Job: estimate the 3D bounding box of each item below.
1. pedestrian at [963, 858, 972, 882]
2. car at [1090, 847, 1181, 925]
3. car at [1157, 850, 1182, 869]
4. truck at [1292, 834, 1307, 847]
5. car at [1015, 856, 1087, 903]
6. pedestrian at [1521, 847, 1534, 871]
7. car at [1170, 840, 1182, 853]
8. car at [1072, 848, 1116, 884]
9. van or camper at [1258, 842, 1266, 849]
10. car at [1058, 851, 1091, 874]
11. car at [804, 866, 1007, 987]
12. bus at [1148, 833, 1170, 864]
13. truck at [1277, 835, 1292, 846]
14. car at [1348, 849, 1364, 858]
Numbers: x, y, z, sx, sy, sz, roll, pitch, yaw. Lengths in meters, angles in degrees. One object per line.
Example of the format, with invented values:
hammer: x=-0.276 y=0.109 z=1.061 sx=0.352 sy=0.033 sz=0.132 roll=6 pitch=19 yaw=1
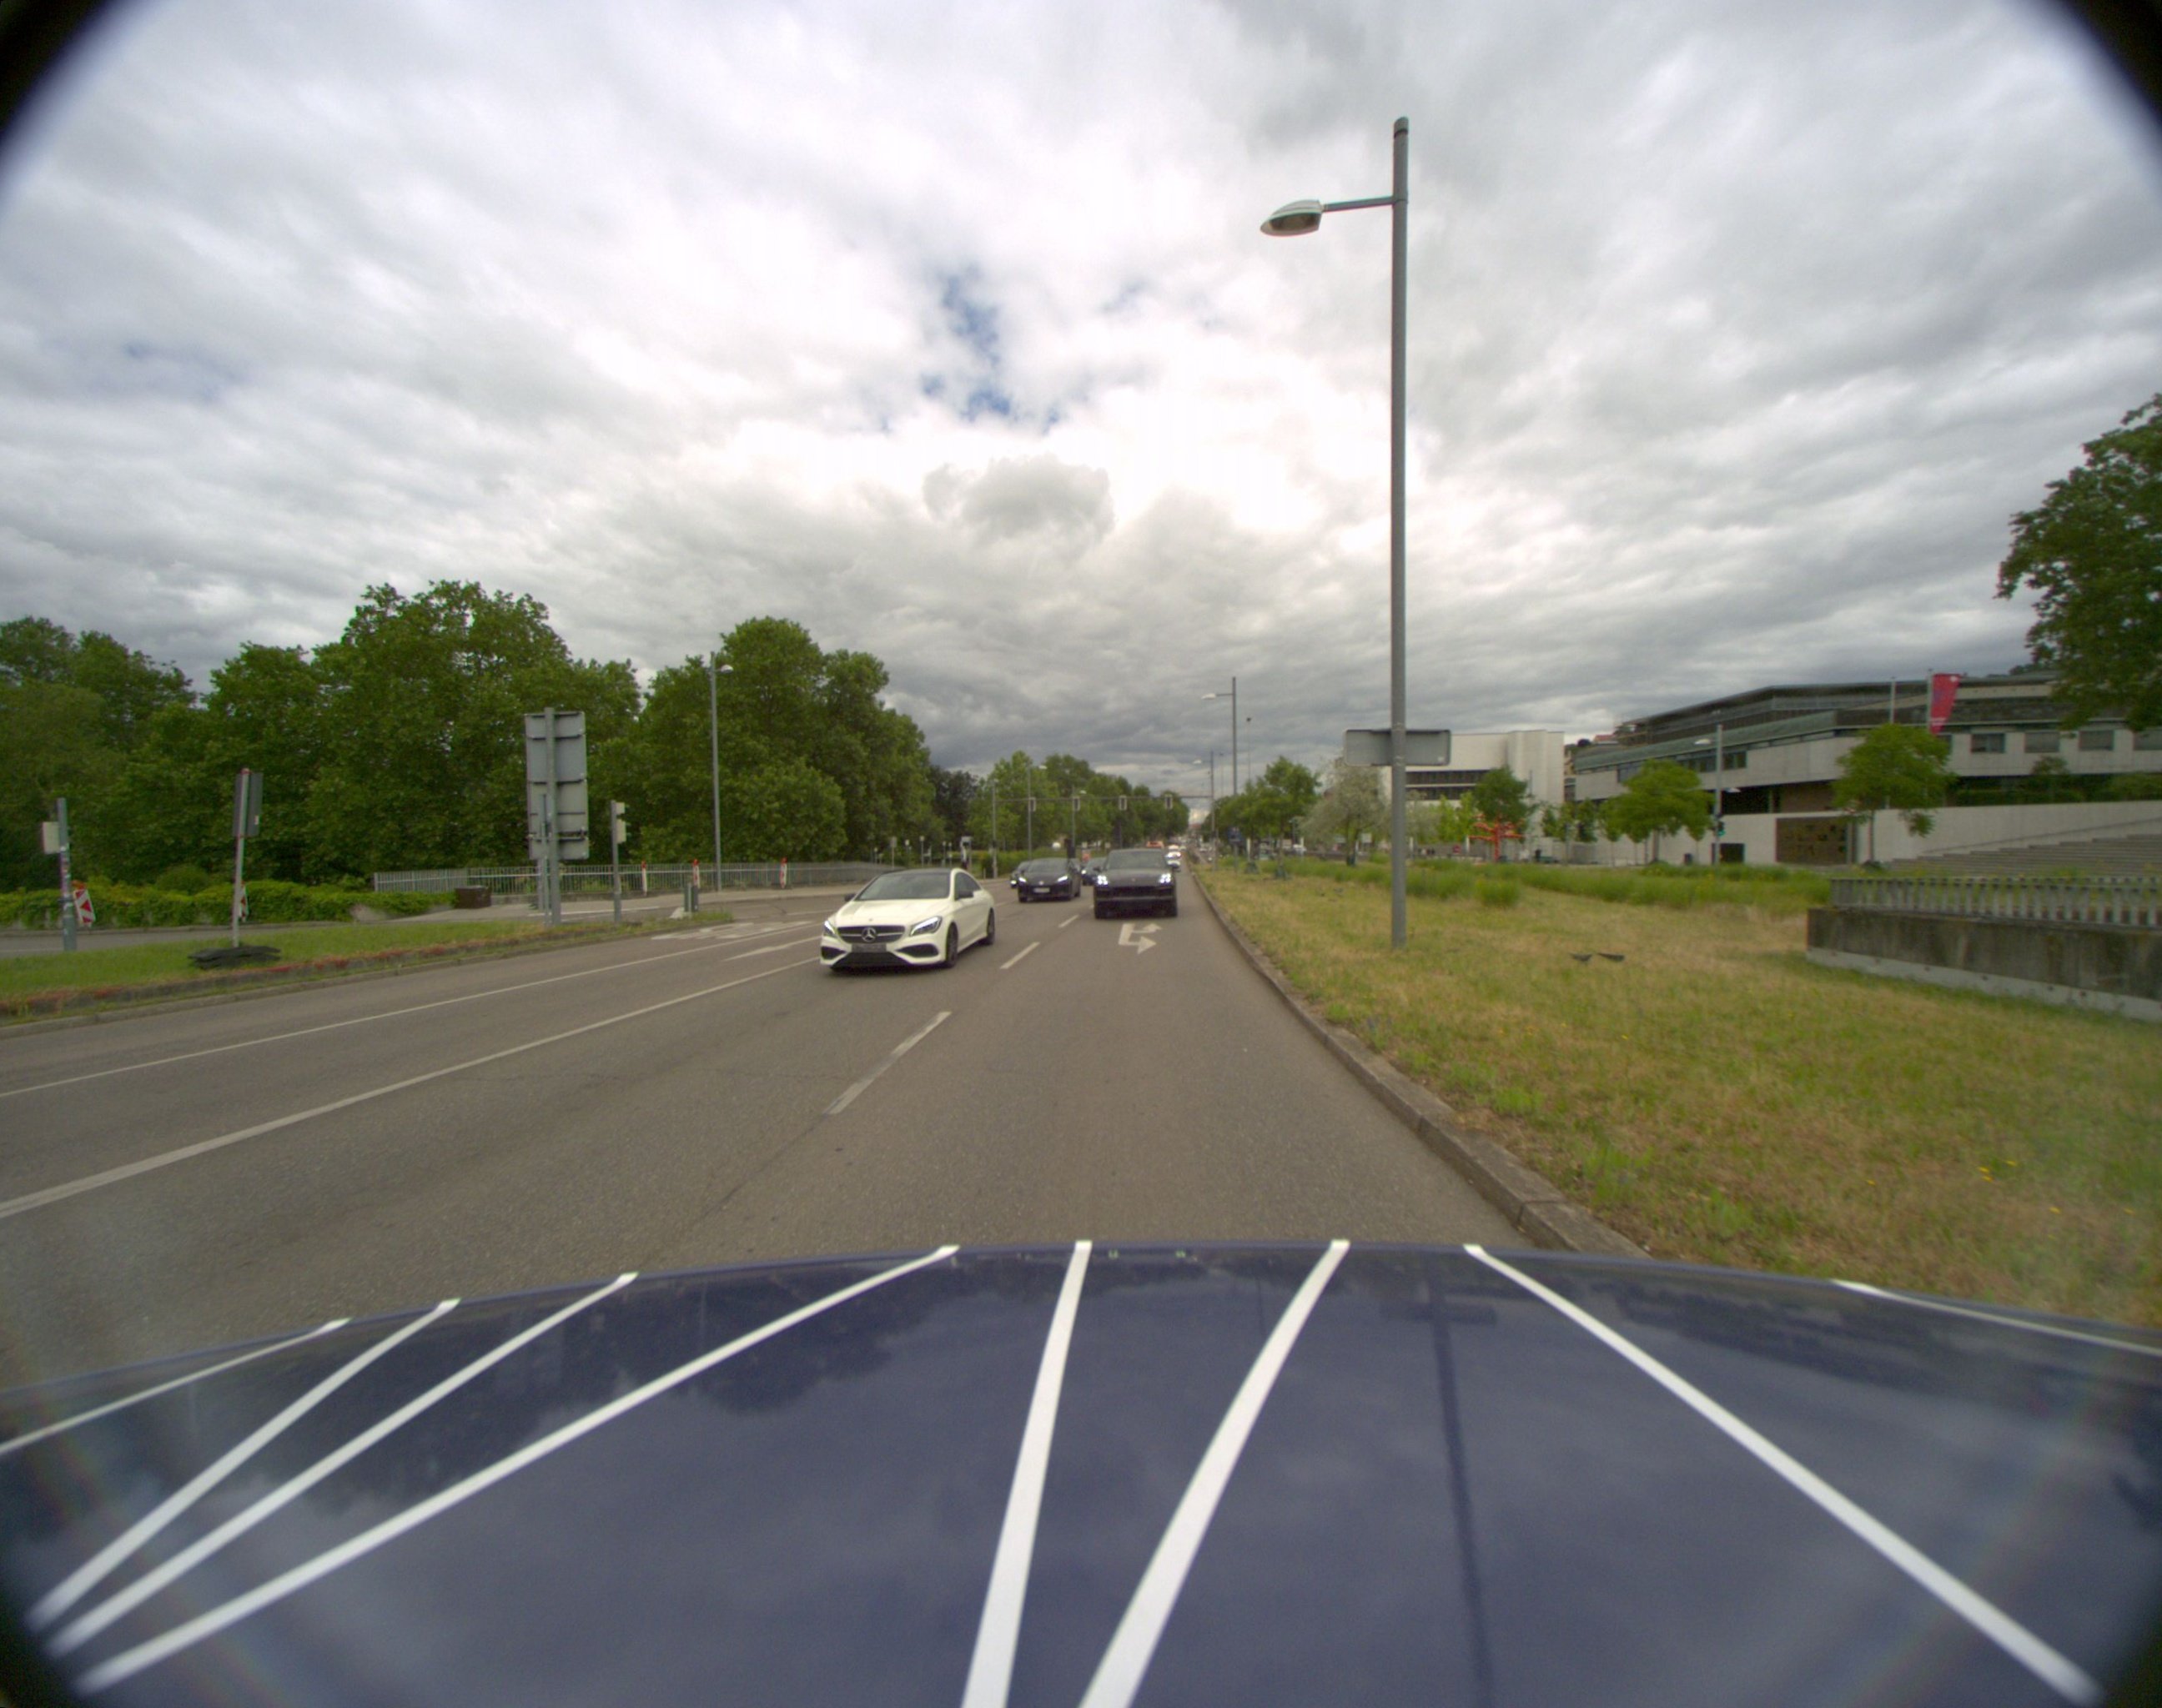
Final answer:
pedestrian: x=-8.348 y=1.189 z=56.092 sx=0.479 sy=1.754 sz=0.620 roll=-2 pitch=1 yaw=5
car: x=1.527 y=0.710 z=19.384 sx=1.936 sy=1.668 sz=4.682 roll=-3 pitch=0 yaw=8
car: x=7.461 y=0.451 z=64.186 sx=1.761 sy=1.538 sz=4.000 roll=-2 pitch=1 yaw=2
truck: x=47.884 y=-2.939 z=166.632 sx=2.468 sy=2.800 sz=7.083 roll=-1 pitch=0 yaw=9
car: x=-0.987 y=0.850 z=27.214 sx=1.828 sy=1.515 sz=4.122 roll=-2 pitch=0 yaw=8
pedestrian: x=31.853 y=0.371 z=54.234 sx=0.541 sy=1.723 sz=0.664 roll=-2 pitch=1 yaw=8
car: x=17.686 y=-1.408 z=141.327 sx=1.997 sy=2.216 sz=4.002 roll=-2 pitch=1 yaw=10
car: x=0.742 y=0.684 z=39.926 sx=1.572 sy=1.527 sz=4.007 roll=-6 pitch=-4 yaw=9
van or camper: x=52.948 y=-2.490 z=222.201 sx=1.997 sy=2.002 sz=4.560 roll=-1 pitch=0 yaw=8
car: x=-0.425 y=0.579 z=55.020 sx=1.722 sy=1.528 sz=4.003 roll=-2 pitch=1 yaw=8
car: x=-2.517 y=0.989 z=12.144 sx=1.722 sy=1.415 sz=4.507 roll=-2 pitch=1 yaw=6
bus: x=11.759 y=-0.835 z=114.460 sx=3.042 sy=4.327 sz=8.753 roll=-1 pitch=1 yaw=7
truck: x=53.737 y=-3.545 z=200.393 sx=3.236 sy=2.771 sz=7.259 roll=-1 pitch=0 yaw=10
car: x=47.682 y=-0.051 z=131.787 sx=1.722 sy=1.565 sz=4.616 roll=-1 pitch=0 yaw=9
